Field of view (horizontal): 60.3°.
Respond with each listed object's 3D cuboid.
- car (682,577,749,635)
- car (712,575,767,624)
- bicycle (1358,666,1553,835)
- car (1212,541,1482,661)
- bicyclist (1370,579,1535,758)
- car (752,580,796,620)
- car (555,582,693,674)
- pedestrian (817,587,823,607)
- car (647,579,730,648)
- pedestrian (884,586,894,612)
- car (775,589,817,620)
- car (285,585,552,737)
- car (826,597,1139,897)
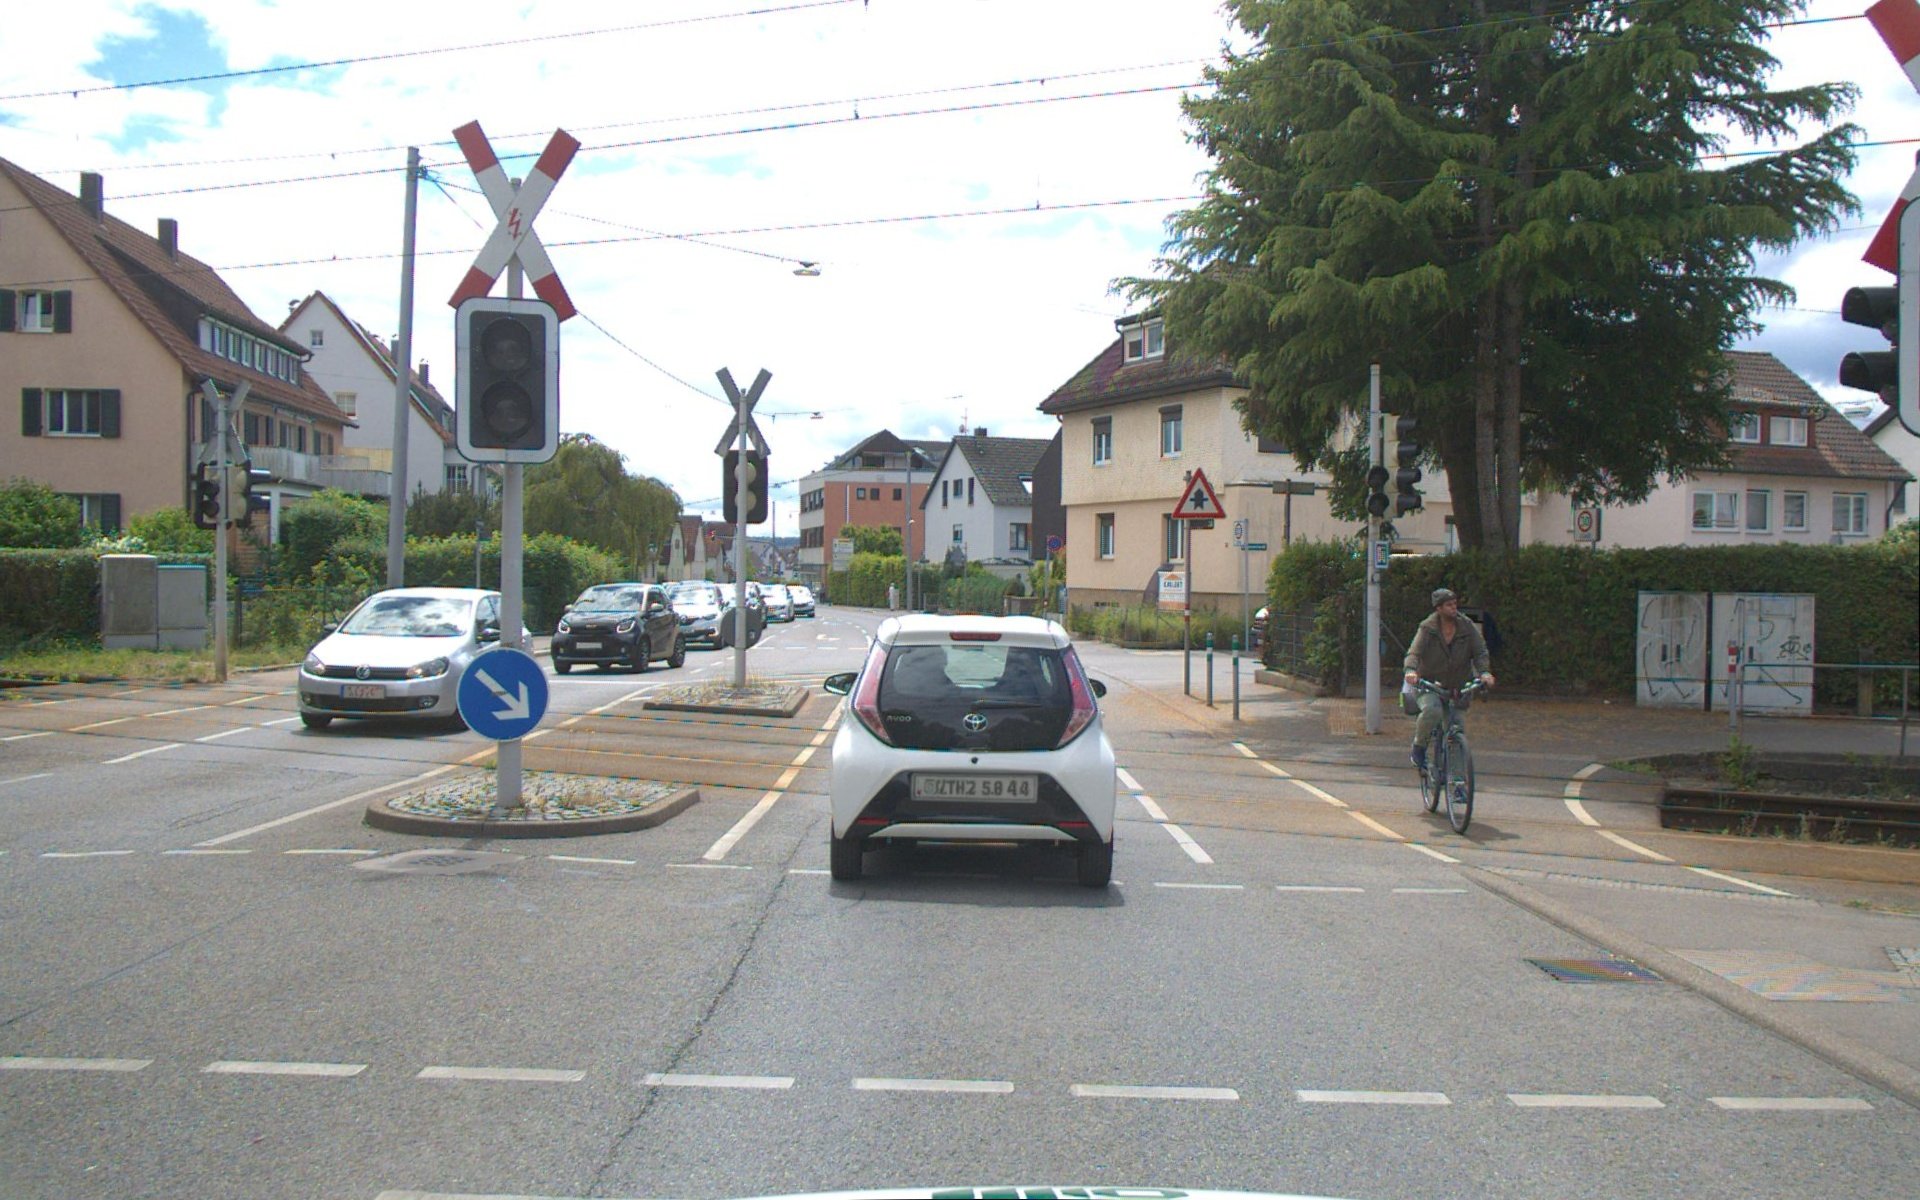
[{"bbox_3d":[-7.287,0.164,49.494,1.740,1.631,4.034,1,0,-5],"label":"car"},{"bbox_3d":[-7.732,-0.033,58.267,1.741,1.631,4.164,1,0,-6],"label":"car"},{"bbox_3d":[3.662,1.083,12.416,0.912,1.058,1.915,1,0,1],"label":"bicycle"},{"bbox_3d":[8.877,0.012,37.891,5.906,2.626,1.989,0,1,-20],"label":"car"},{"bbox_3d":[3.677,0.485,12.444,0.912,1.269,1.102,1,0,1],"label":"bicyclist"},{"bbox_3d":[-7.796,0.001,69.207,1.741,1.589,4.162,1,0,-8],"label":"car"},{"bbox_3d":[-5.974,0.459,29.659,1.541,1.536,2.790,0,1,9],"label":"car"},{"bbox_3d":[-10.757,-0.234,126.854,0.406,1.463,0.436,1,0,-11],"label":"pedestrian"},{"bbox_3d":[-6.738,0.314,41.400,1.740,1.631,4.034,1,0,-5],"label":"car"},{"bbox_3d":[-4.180,-0.057,97.309,0.433,1.463,0.409,1,1,-38],"label":"pedestrian"},{"bbox_3d":[-7.954,0.194,79.893,1.742,1.455,4.512,1,0,-9],"label":"car"},{"bbox_3d":[-5.965,0.601,18.712,1.653,1.483,4.069,1,1,0],"label":"car"},{"bbox_3d":[0.099,0.769,10.565,1.588,1.512,3.999,2,0,-1],"label":"car"}]
